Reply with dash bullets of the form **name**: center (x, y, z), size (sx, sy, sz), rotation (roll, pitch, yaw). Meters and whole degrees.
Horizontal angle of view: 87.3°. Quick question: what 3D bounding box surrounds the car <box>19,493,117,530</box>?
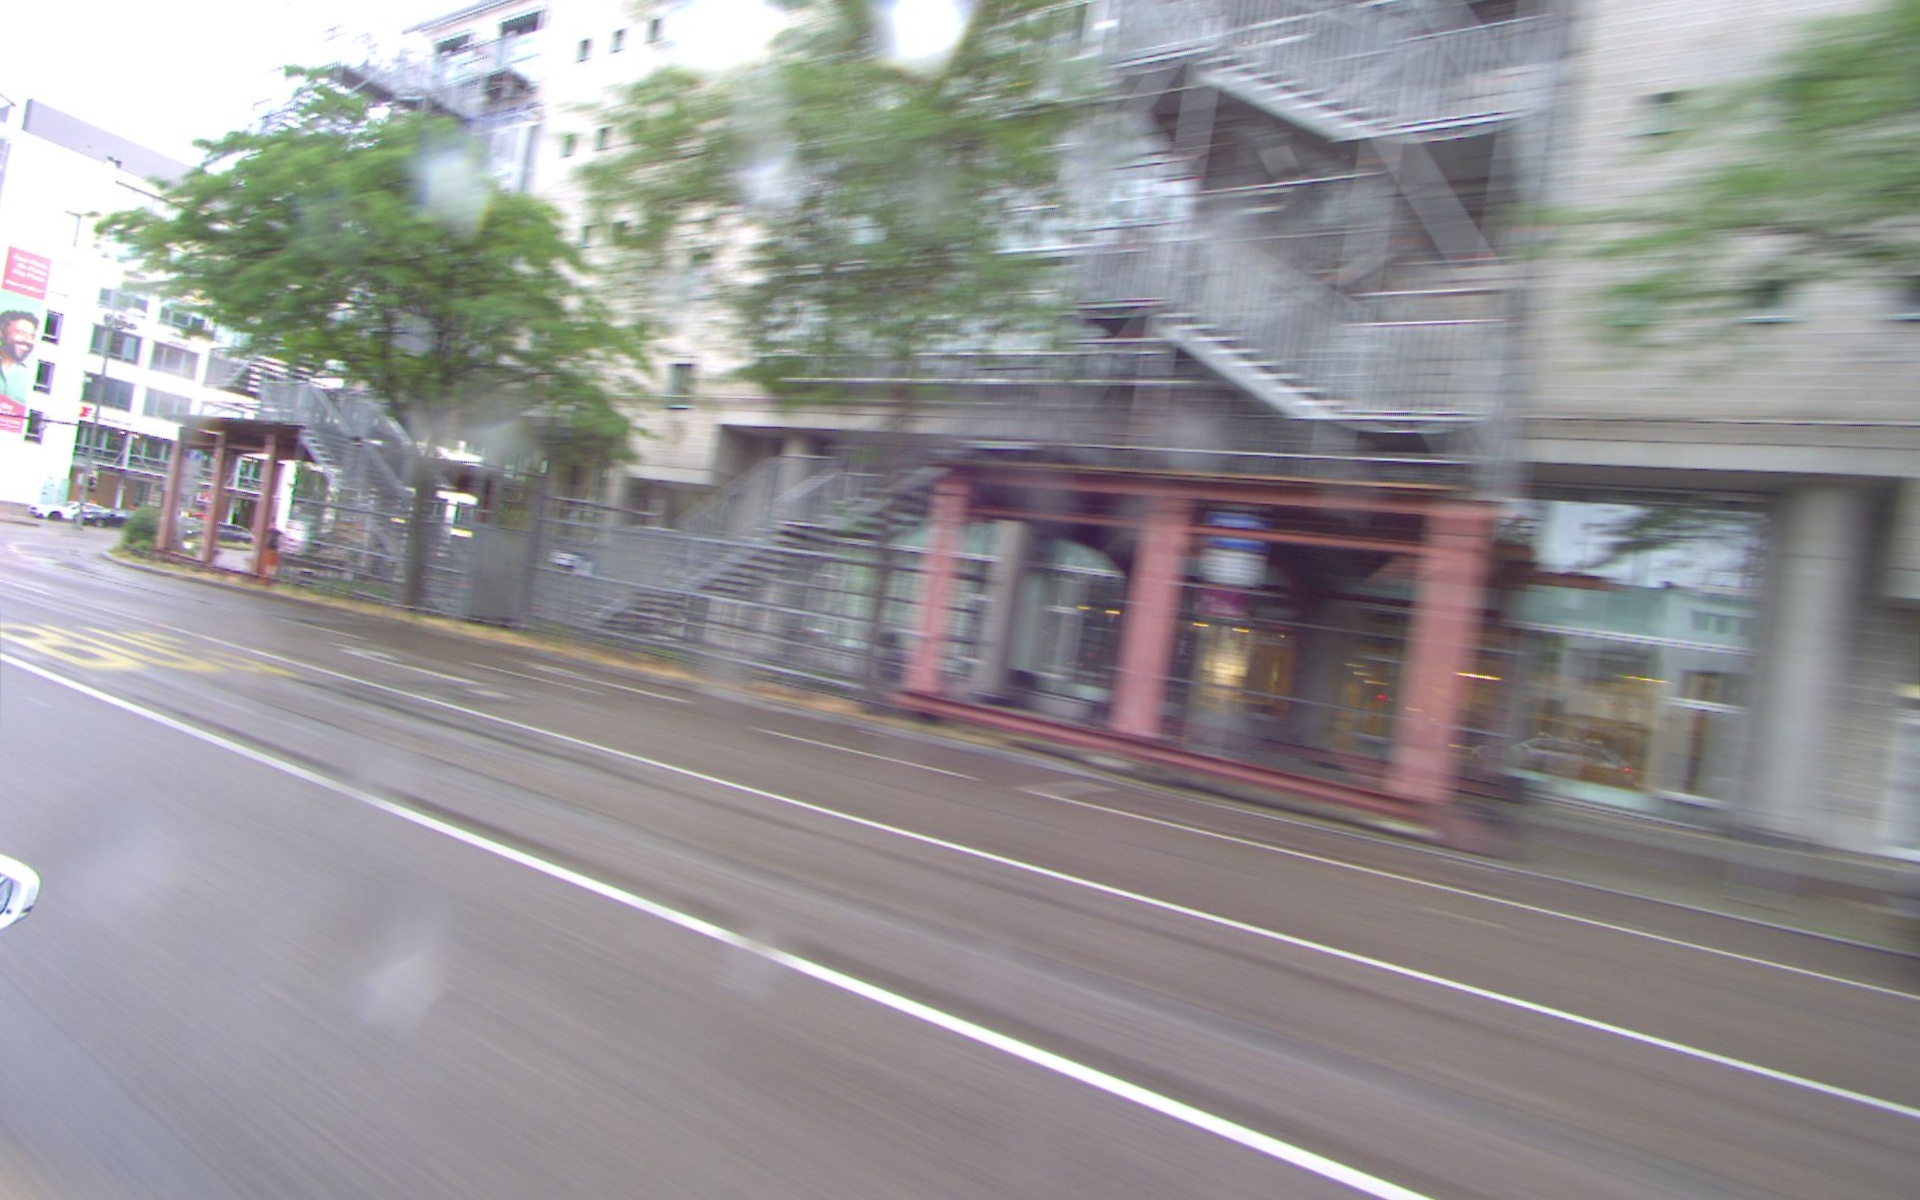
- **car**: center (-60.649, -5.983, 68.491), size (1.962, 1.616, 4.469), rotation (8, -2, 17)

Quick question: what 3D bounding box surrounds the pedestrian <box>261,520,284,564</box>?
- **pedestrian**: center (-31.127, -2.625, 45.547), size (0.675, 1.874, 1.047), rotation (7, 0, -34)

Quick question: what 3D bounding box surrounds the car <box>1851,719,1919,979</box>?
- **car**: center (8.958, 2.014, 6.413), size (4.451, 1.770, 1.997), rotation (7, -1, 32)

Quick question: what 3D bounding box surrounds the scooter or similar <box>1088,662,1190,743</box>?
- **scooter or similar**: center (3.161, 1.799, 17.797), size (1.522, 1.175, 0.632), rotation (7, -1, 32)

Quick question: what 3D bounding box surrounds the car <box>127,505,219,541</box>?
- **car**: center (-53.803, -5.262, 68.877), size (1.962, 1.616, 4.469), rotation (8, -2, 17)

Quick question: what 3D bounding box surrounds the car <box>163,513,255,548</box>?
- **car**: center (-48.541, -4.453, 65.152), size (1.691, 1.481, 4.468), rotation (8, -2, 19)

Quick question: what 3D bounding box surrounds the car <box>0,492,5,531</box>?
- **car**: center (-26.691, -2.257, 26.147), size (4.080, 1.558, 1.781), rotation (7, -1, 34)
